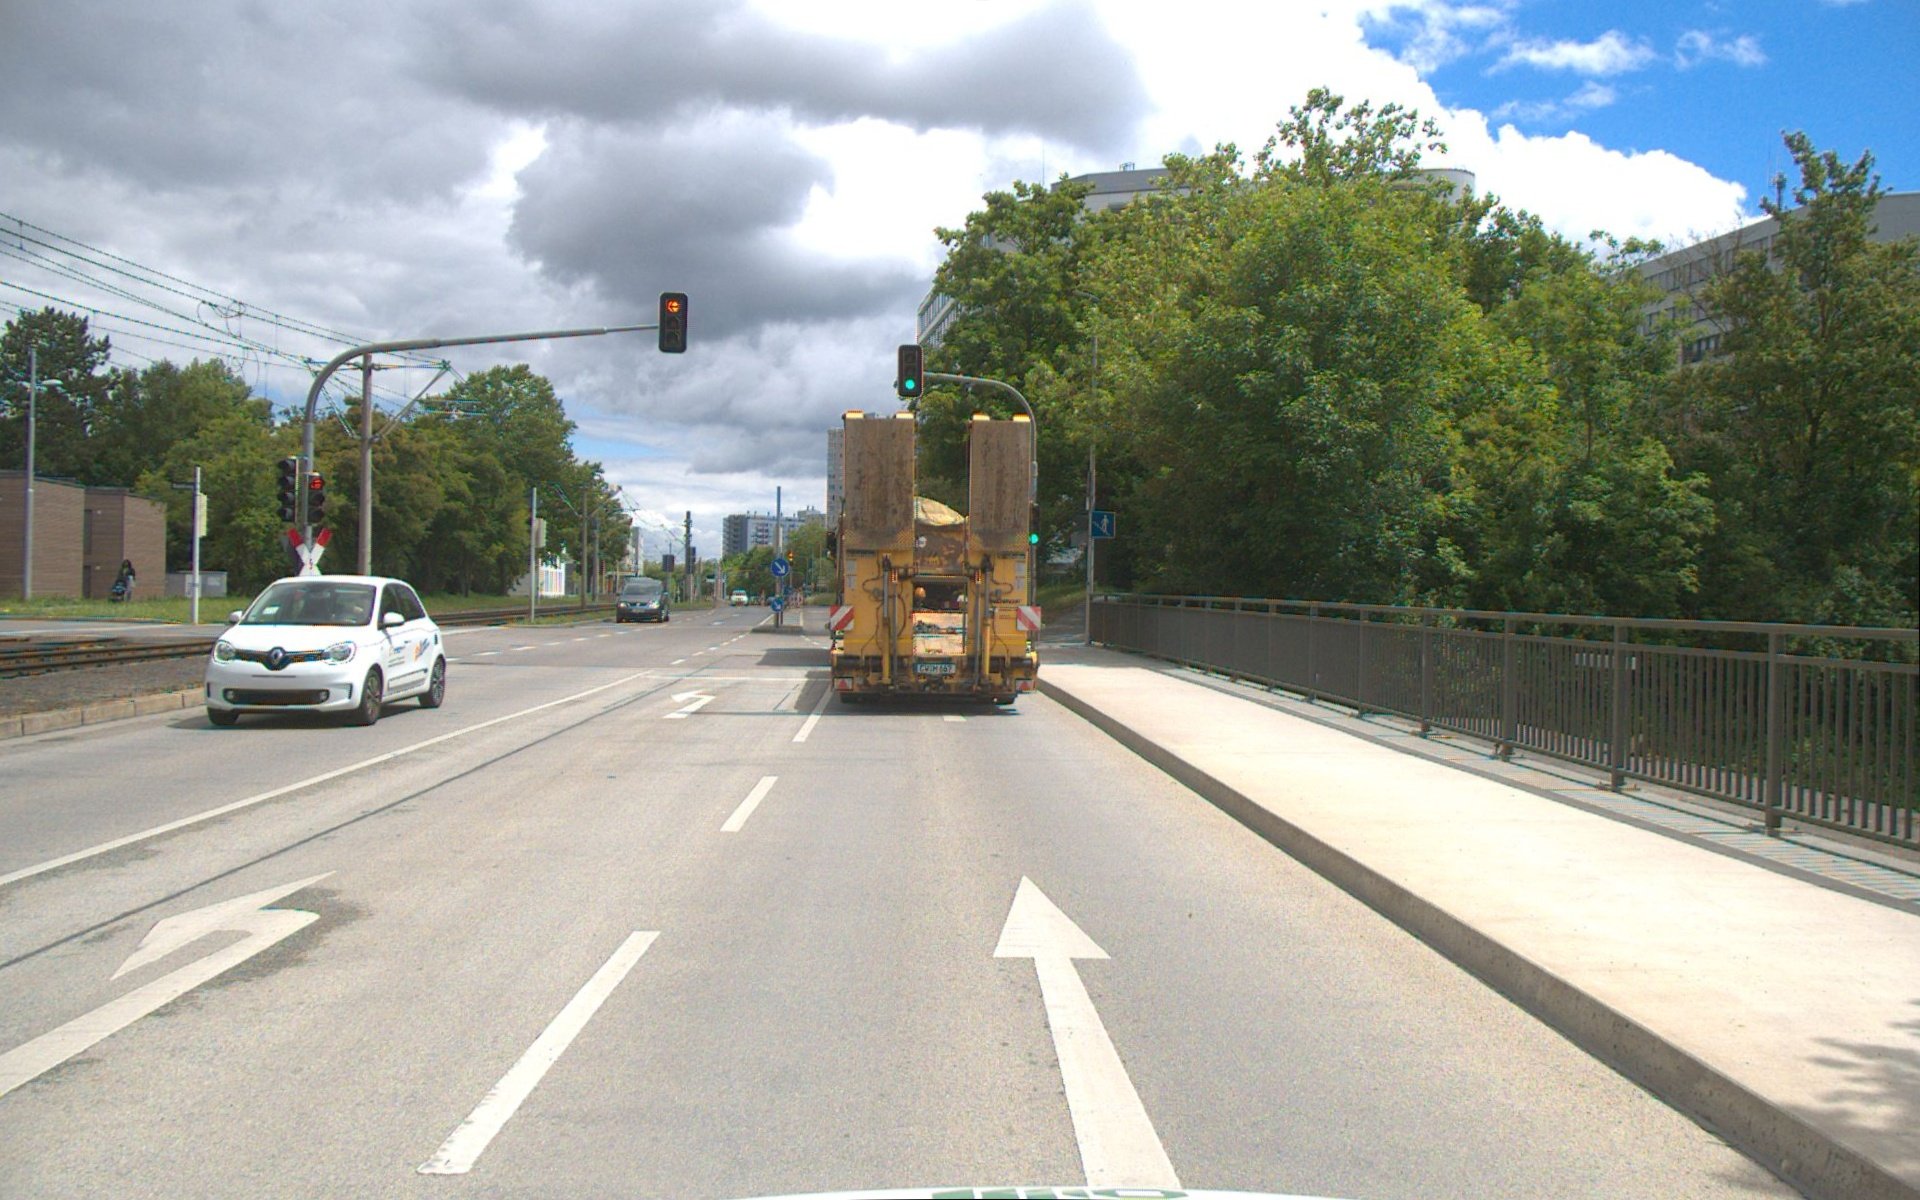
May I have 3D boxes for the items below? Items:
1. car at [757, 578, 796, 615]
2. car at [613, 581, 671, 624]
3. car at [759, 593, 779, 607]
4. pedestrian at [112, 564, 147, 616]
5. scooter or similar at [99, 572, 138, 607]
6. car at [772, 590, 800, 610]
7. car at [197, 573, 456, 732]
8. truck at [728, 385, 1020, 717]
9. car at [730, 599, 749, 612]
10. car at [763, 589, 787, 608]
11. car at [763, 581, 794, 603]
[{"bbox_3d":[-10.449,-0.217,94.533,1.954,1.959,3.997,3,0,-4],"label":"car"},{"bbox_3d":[-12.215,0.088,63.771,1.749,1.597,4.340,1,0,-5],"label":"car"},{"bbox_3d":[-18.036,0.007,156.200,1.749,1.294,4.340,1,0,-5],"label":"car"},{"bbox_3d":[-30.423,-0.373,60.624,0.785,1.843,0.808,3,0,0],"label":"pedestrian"},{"bbox_3d":[-30.401,-0.370,59.782,0.872,1.205,0.972,3,0,-2],"label":"scooter or similar"},{"bbox_3d":[-13.399,0.009,127.596,1.954,1.445,3.997,3,0,-4],"label":"car"},{"bbox_3d":[-6.830,0.519,18.221,1.561,1.553,3.653,1,0,-3],"label":"car"},{"bbox_3d":[-0.882,-0.585,25.471,3.248,3.714,12.563,2,0,1],"label":"truck"},{"bbox_3d":[-23.066,0.605,172.966,1.749,1.294,4.340,1,0,-5],"label":"car"},{"bbox_3d":[-16.979,-0.141,152.021,1.954,1.646,3.997,3,0,-4],"label":"car"},{"bbox_3d":[-12.886,-0.586,117.616,1.954,1.445,3.997,3,0,-4],"label":"car"}]
